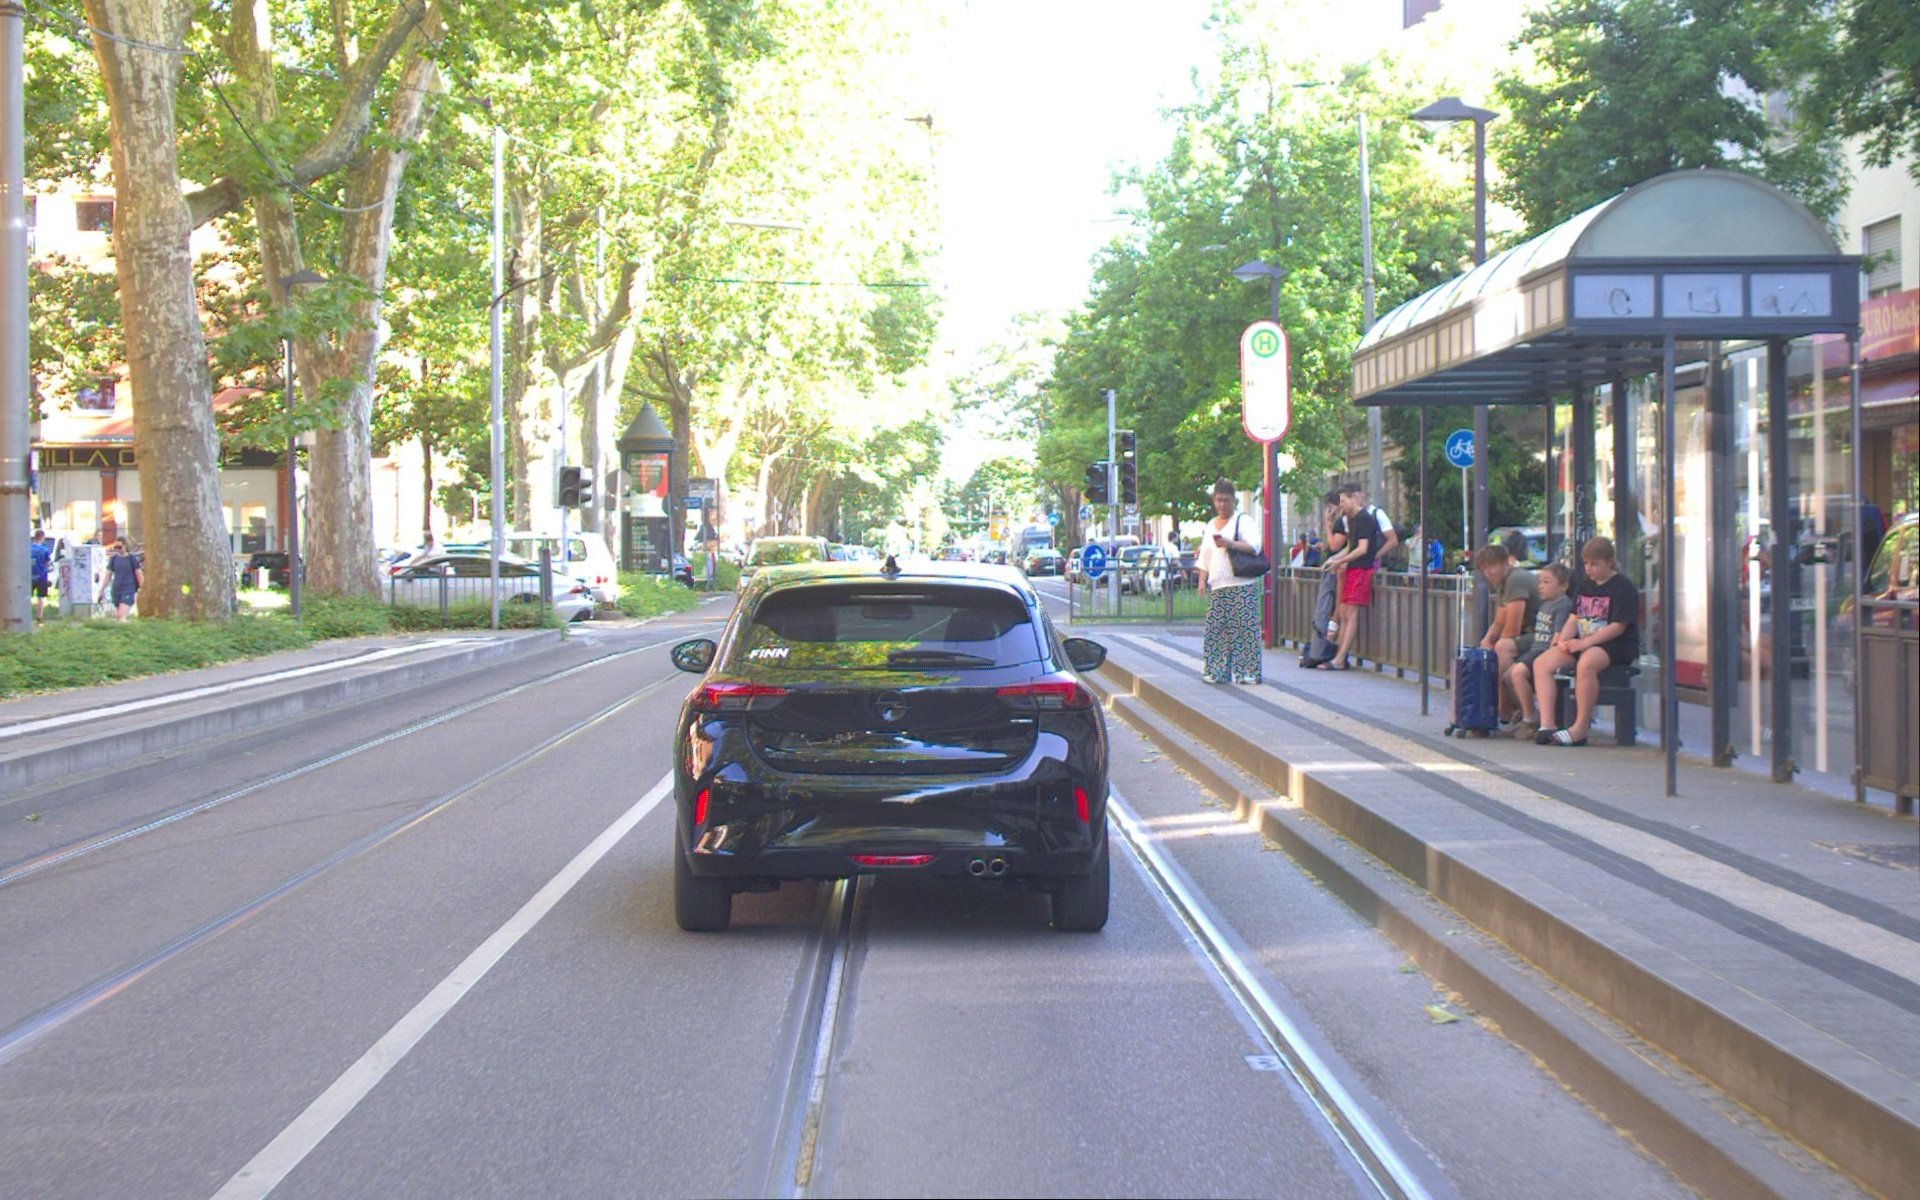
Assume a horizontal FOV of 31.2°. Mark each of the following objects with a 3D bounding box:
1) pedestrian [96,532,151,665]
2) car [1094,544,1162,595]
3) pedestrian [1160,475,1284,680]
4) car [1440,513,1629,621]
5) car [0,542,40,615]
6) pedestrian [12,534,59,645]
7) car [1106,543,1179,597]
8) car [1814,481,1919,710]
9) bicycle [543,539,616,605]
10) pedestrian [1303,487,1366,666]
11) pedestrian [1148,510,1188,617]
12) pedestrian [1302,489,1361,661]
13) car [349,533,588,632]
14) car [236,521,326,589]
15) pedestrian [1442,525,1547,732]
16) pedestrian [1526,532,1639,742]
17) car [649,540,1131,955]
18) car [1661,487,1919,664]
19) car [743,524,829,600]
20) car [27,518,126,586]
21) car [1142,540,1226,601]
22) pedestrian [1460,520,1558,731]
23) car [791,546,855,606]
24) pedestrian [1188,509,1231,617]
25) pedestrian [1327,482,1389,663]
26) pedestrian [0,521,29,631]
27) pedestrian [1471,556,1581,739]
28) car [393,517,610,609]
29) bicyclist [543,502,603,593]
[{"bbox_3d":[-12.314,-0.022,50.629,0.672,1.943,0.498,1,0,-1],"label":"pedestrian"},{"bbox_3d":[5.553,-1.004,113.803,1.993,1.627,4.000,1,1,-1],"label":"car"},{"bbox_3d":[2.215,-0.192,28.986,0.751,1.703,0.762,1,0,34],"label":"pedestrian"},{"bbox_3d":[8.228,-0.477,49.539,1.993,1.481,4.000,1,1,-1],"label":"car"},{"bbox_3d":[-28.014,-0.623,95.783,4.249,2.007,2.000,1,0,-1],"label":"car"},{"bbox_3d":[-16.379,-0.192,60.927,0.672,1.943,0.498,2,1,-4],"label":"pedestrian"},{"bbox_3d":[5.692,-0.944,107.508,1.993,1.627,4.000,1,1,-1],"label":"car"},{"bbox_3d":[9.120,-0.041,30.473,1.993,1.946,4.000,0,0,-1],"label":"car"},{"bbox_3d":[-7.291,-0.543,66.008,0.955,1.236,2.977,1,1,2],"label":"bicycle"},{"bbox_3d":[3.598,-0.226,33.061,0.531,1.703,0.752,1,0,2],"label":"pedestrian"},{"bbox_3d":[3.939,-0.697,65.195,0.675,2.007,0.701,2,1,5],"label":"pedestrian"},{"bbox_3d":[3.726,-0.252,34.494,0.531,1.703,0.596,1,0,2],"label":"pedestrian"},{"bbox_3d":[-8.680,-0.313,60.804,4.113,1.695,1.884,0,0,-8],"label":"car"},{"bbox_3d":[-20.558,-1.366,104.222,1.993,2.007,4.000,1,0,-1],"label":"car"},{"bbox_3d":[3.409,0.177,21.963,0.534,1.300,0.551,0,0,-5],"label":"pedestrian"},{"bbox_3d":[3.692,0.215,20.406,0.534,1.226,0.510,0,0,-5],"label":"pedestrian"},{"bbox_3d":[-0.347,0.524,14.510,1.759,1.503,3.683,-1,1,-3],"label":"car"},{"bbox_3d":[9.054,-0.269,37.263,1.993,1.791,4.000,0,1,-1],"label":"car"},{"bbox_3d":[-3.636,-0.789,72.170,1.745,1.539,4.000,0,1,-2],"label":"car"},{"bbox_3d":[-26.562,-1.431,103.497,1.993,2.007,4.000,1,0,-1],"label":"car"},{"bbox_3d":[6.144,-0.818,94.556,1.993,1.627,4.000,1,1,-1],"label":"car"},{"bbox_3d":[3.426,0.157,21.453,0.502,1.300,0.429,0,0,-5],"label":"pedestrian"},{"bbox_3d":[-3.932,-0.697,98.815,1.785,1.687,4.000,0,1,-2],"label":"car"},{"bbox_3d":[4.717,-0.706,64.884,0.675,2.007,0.701,2,1,11],"label":"pedestrian"},{"bbox_3d":[3.907,-0.270,33.777,0.531,1.757,0.661,1,0,2],"label":"pedestrian"},{"bbox_3d":[-17.124,-0.433,61.715,0.672,1.943,0.498,2,1,-4],"label":"pedestrian"},{"bbox_3d":[3.443,0.283,20.938,0.534,1.096,0.551,0,0,-5],"label":"pedestrian"},{"bbox_3d":[-9.527,-0.767,71.512,4.383,1.845,2.000,0,0,-8],"label":"car"},{"bbox_3d":[-7.321,-0.985,65.104,0.941,1.697,1.153,1,0,2],"label":"bicyclist"}]
